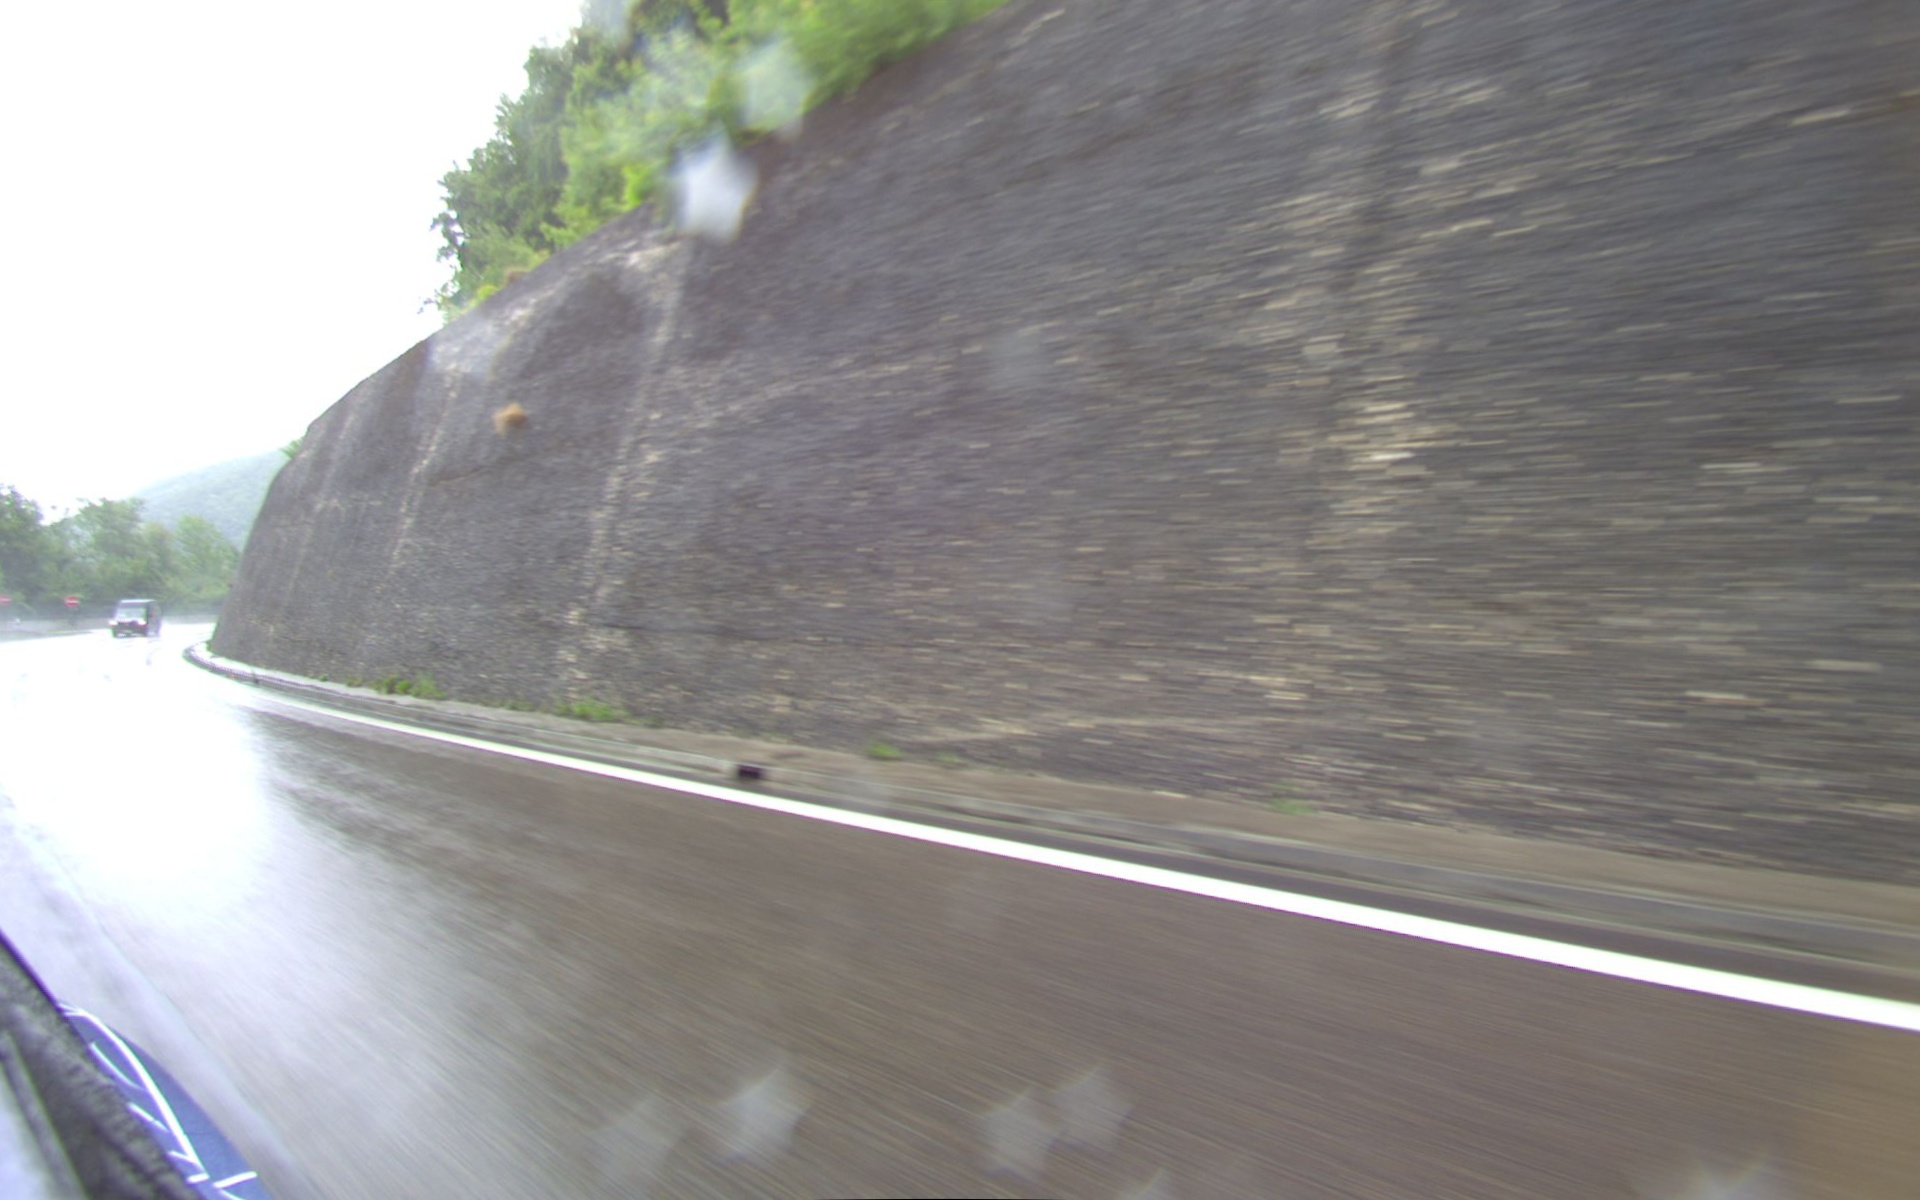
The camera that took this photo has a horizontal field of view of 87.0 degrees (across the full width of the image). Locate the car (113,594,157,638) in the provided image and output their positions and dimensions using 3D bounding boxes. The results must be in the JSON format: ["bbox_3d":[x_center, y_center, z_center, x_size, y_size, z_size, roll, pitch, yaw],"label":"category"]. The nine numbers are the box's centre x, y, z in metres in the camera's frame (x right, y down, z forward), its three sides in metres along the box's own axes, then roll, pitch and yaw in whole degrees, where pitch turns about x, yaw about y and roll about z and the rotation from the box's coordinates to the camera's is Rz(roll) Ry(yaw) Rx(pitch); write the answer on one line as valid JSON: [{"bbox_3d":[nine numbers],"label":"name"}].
[{"bbox_3d":[-59.425,1.149,72.977,1.713,3.048,4.013,0,0,-28],"label":"car"}]

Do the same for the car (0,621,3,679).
[{"bbox_3d":[-25.711,1.318,25.034,2.323,1.570,5.511,0,-1,-37],"label":"car"}]
